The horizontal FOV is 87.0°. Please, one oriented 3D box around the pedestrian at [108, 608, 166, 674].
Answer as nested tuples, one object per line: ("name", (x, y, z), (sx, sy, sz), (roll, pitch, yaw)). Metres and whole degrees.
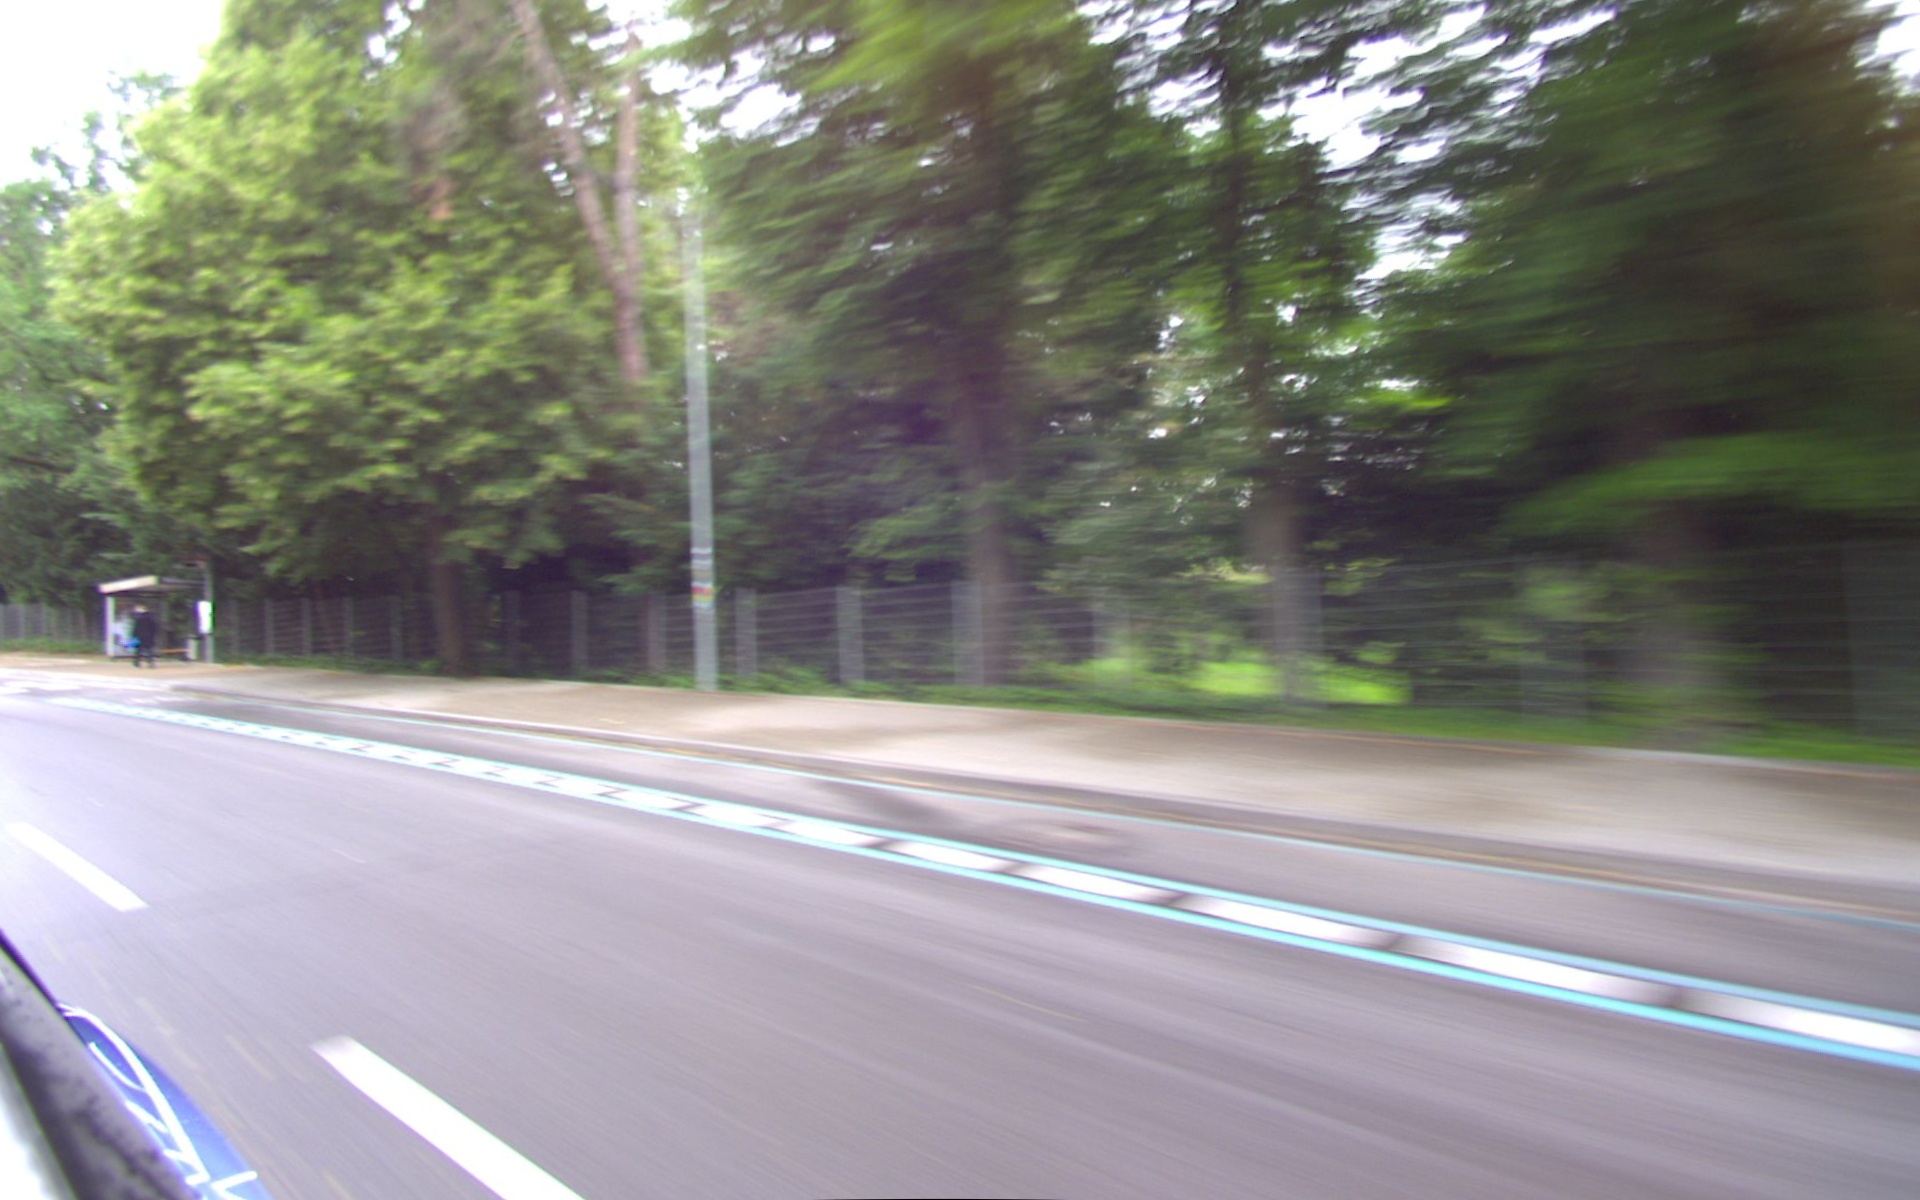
("pedestrian", (-22.689, 1.122, 27.901), (1.142, 1.746, 0.880), (-2, -1, 31))
